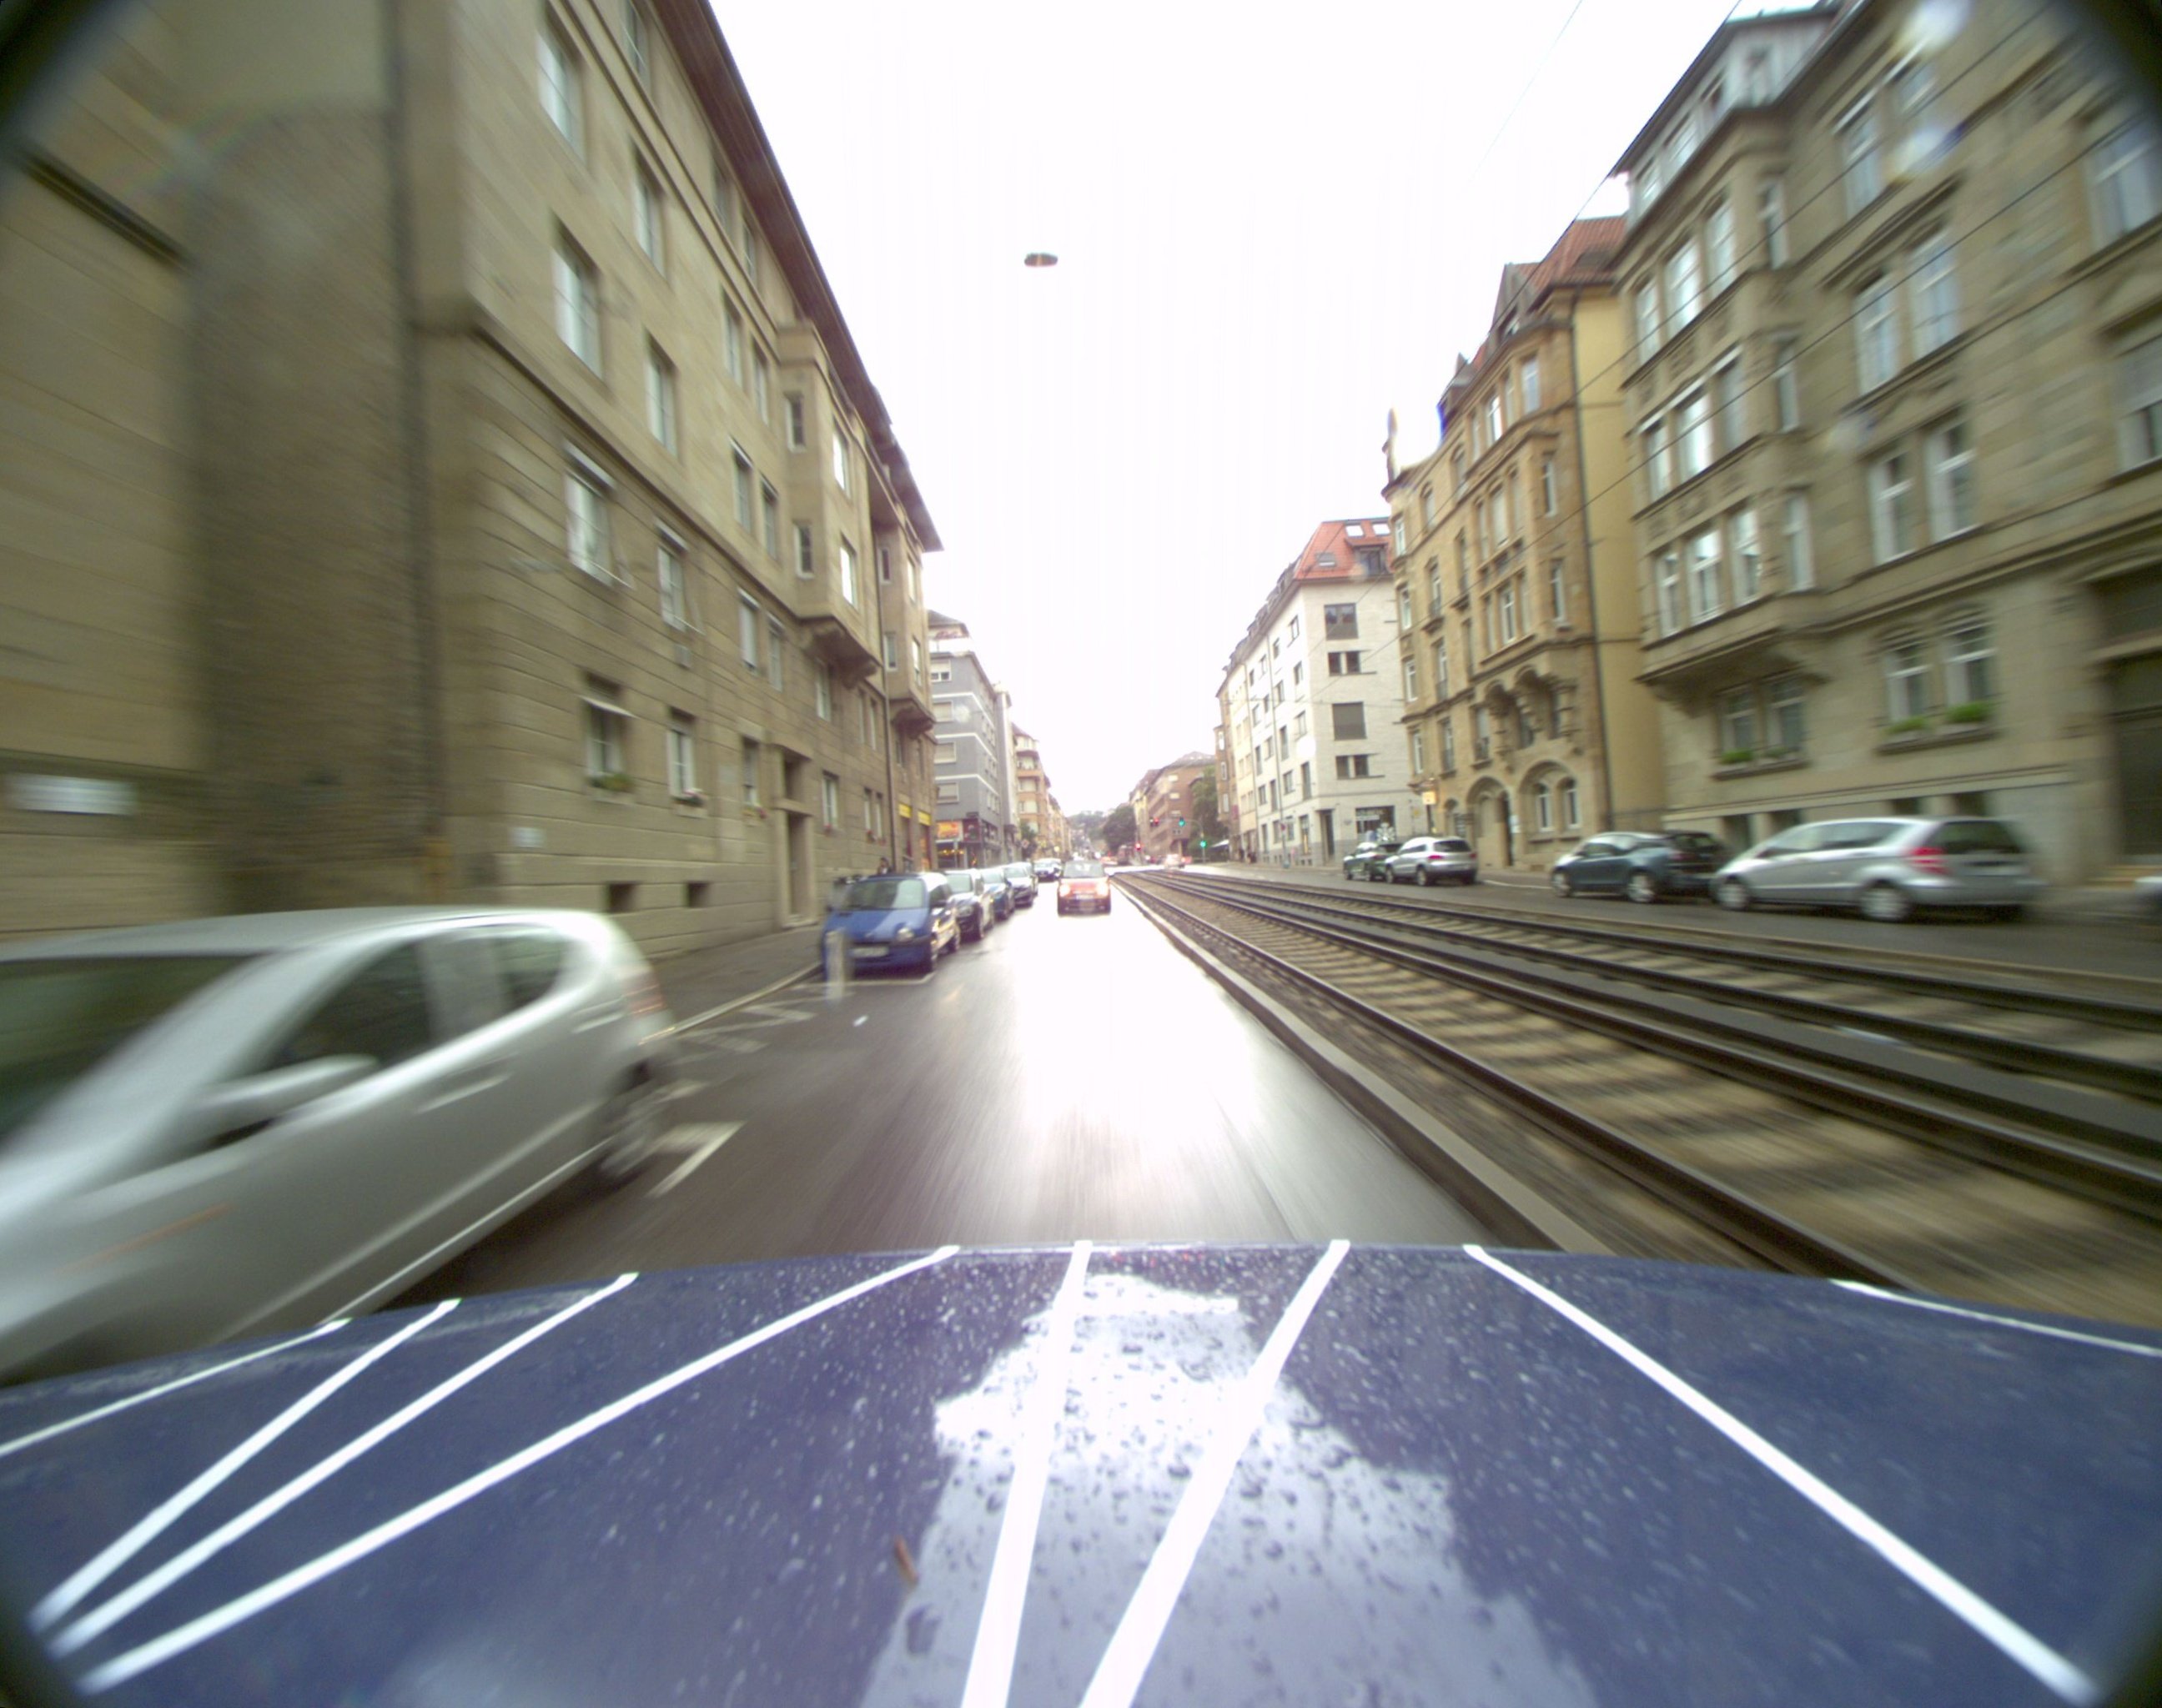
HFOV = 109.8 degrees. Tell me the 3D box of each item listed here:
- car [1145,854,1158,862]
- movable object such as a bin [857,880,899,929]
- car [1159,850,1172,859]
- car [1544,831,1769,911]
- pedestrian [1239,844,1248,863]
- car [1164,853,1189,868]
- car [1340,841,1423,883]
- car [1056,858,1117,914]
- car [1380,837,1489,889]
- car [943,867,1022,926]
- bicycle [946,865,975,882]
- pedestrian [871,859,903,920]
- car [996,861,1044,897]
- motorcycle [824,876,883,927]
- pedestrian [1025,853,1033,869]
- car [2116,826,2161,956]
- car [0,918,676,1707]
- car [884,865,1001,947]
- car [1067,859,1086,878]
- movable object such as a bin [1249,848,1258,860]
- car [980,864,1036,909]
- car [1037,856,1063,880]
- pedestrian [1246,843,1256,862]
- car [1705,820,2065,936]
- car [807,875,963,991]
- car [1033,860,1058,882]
[{"bbox_3d":[12.990,0.728,139.816,2.093,1.449,4.860,-2,0,2],"label":"car"},{"bbox_3d":[-4.973,1.234,18.679,0.667,1.096,1.124,-3,0,0],"label":"movable object such as a bin"},{"bbox_3d":[12.931,0.064,116.836,1.708,1.379,3.781,-2,0,2],"label":"car"},{"bbox_3d":[12.584,0.333,17.020,1.875,1.499,4.169,-2,0,0],"label":"car"},{"bbox_3d":[14.958,-0.066,69.956,0.603,1.708,0.746,-6,0,3],"label":"pedestrian"},{"bbox_3d":[9.764,0.613,78.011,1.986,1.448,4.294,-2,0,-1],"label":"car"},{"bbox_3d":[12.594,0.314,32.159,1.863,1.592,4.430,-2,0,2],"label":"car"},{"bbox_3d":[0.170,0.927,23.618,1.683,1.531,4.018,-2,0,0],"label":"car"},{"bbox_3d":[12.590,0.301,27.394,1.863,1.643,4.315,-2,0,-1],"label":"car"},{"bbox_3d":[-2.692,1.134,21.570,1.711,1.390,4.018,-2,0,-1],"label":"car"},{"bbox_3d":[-7.760,1.240,48.976,1.753,0.967,0.533,-3,0,2],"label":"bicycle"},{"bbox_3d":[-5.001,0.910,19.611,0.562,1.526,0.710,-3,0,1],"label":"pedestrian"},{"bbox_3d":[-2.603,1.037,33.029,1.675,1.435,3.790,-1,0,1],"label":"car"},{"bbox_3d":[-6.132,1.236,20.653,0.707,1.192,2.746,-3,0,1],"label":"motorcycle"},{"bbox_3d":[-5.919,0.849,86.770,0.852,1.807,0.847,-1,0,0],"label":"pedestrian"},{"bbox_3d":[12.413,0.368,6.321,1.767,1.390,4.269,-1,0,-1],"label":"car"},{"bbox_3d":[-3.018,1.090,2.343,1.594,1.426,3.683,-2,0,-2],"label":"car"},{"bbox_3d":[-2.862,1.025,16.588,1.792,1.453,4.083,-2,0,-1],"label":"car"},{"bbox_3d":[-0.493,1.699,89.169,2.135,2.002,4.328,-3,0,1],"label":"car"},{"bbox_3d":[16.229,0.031,71.381,0.631,1.074,0.563,-7,0,0],"label":"movable object such as a bin"},{"bbox_3d":[-2.493,1.083,26.864,1.759,1.379,4.484,-1,0,-3],"label":"car"},{"bbox_3d":[-2.363,1.064,59.397,1.797,1.750,4.566,-3,0,0],"label":"car"},{"bbox_3d":[15.634,-0.138,69.865,0.603,1.708,0.658,-6,0,3],"label":"pedestrian"},{"bbox_3d":[12.398,0.322,12.149,1.699,1.515,3.855,-2,0,1],"label":"car"},{"bbox_3d":[-2.909,1.114,11.966,1.548,1.406,3.446,-2,0,-1],"label":"car"},{"bbox_3d":[-2.564,1.169,53.930,1.696,1.474,3.928,-1,0,-4],"label":"car"}]
